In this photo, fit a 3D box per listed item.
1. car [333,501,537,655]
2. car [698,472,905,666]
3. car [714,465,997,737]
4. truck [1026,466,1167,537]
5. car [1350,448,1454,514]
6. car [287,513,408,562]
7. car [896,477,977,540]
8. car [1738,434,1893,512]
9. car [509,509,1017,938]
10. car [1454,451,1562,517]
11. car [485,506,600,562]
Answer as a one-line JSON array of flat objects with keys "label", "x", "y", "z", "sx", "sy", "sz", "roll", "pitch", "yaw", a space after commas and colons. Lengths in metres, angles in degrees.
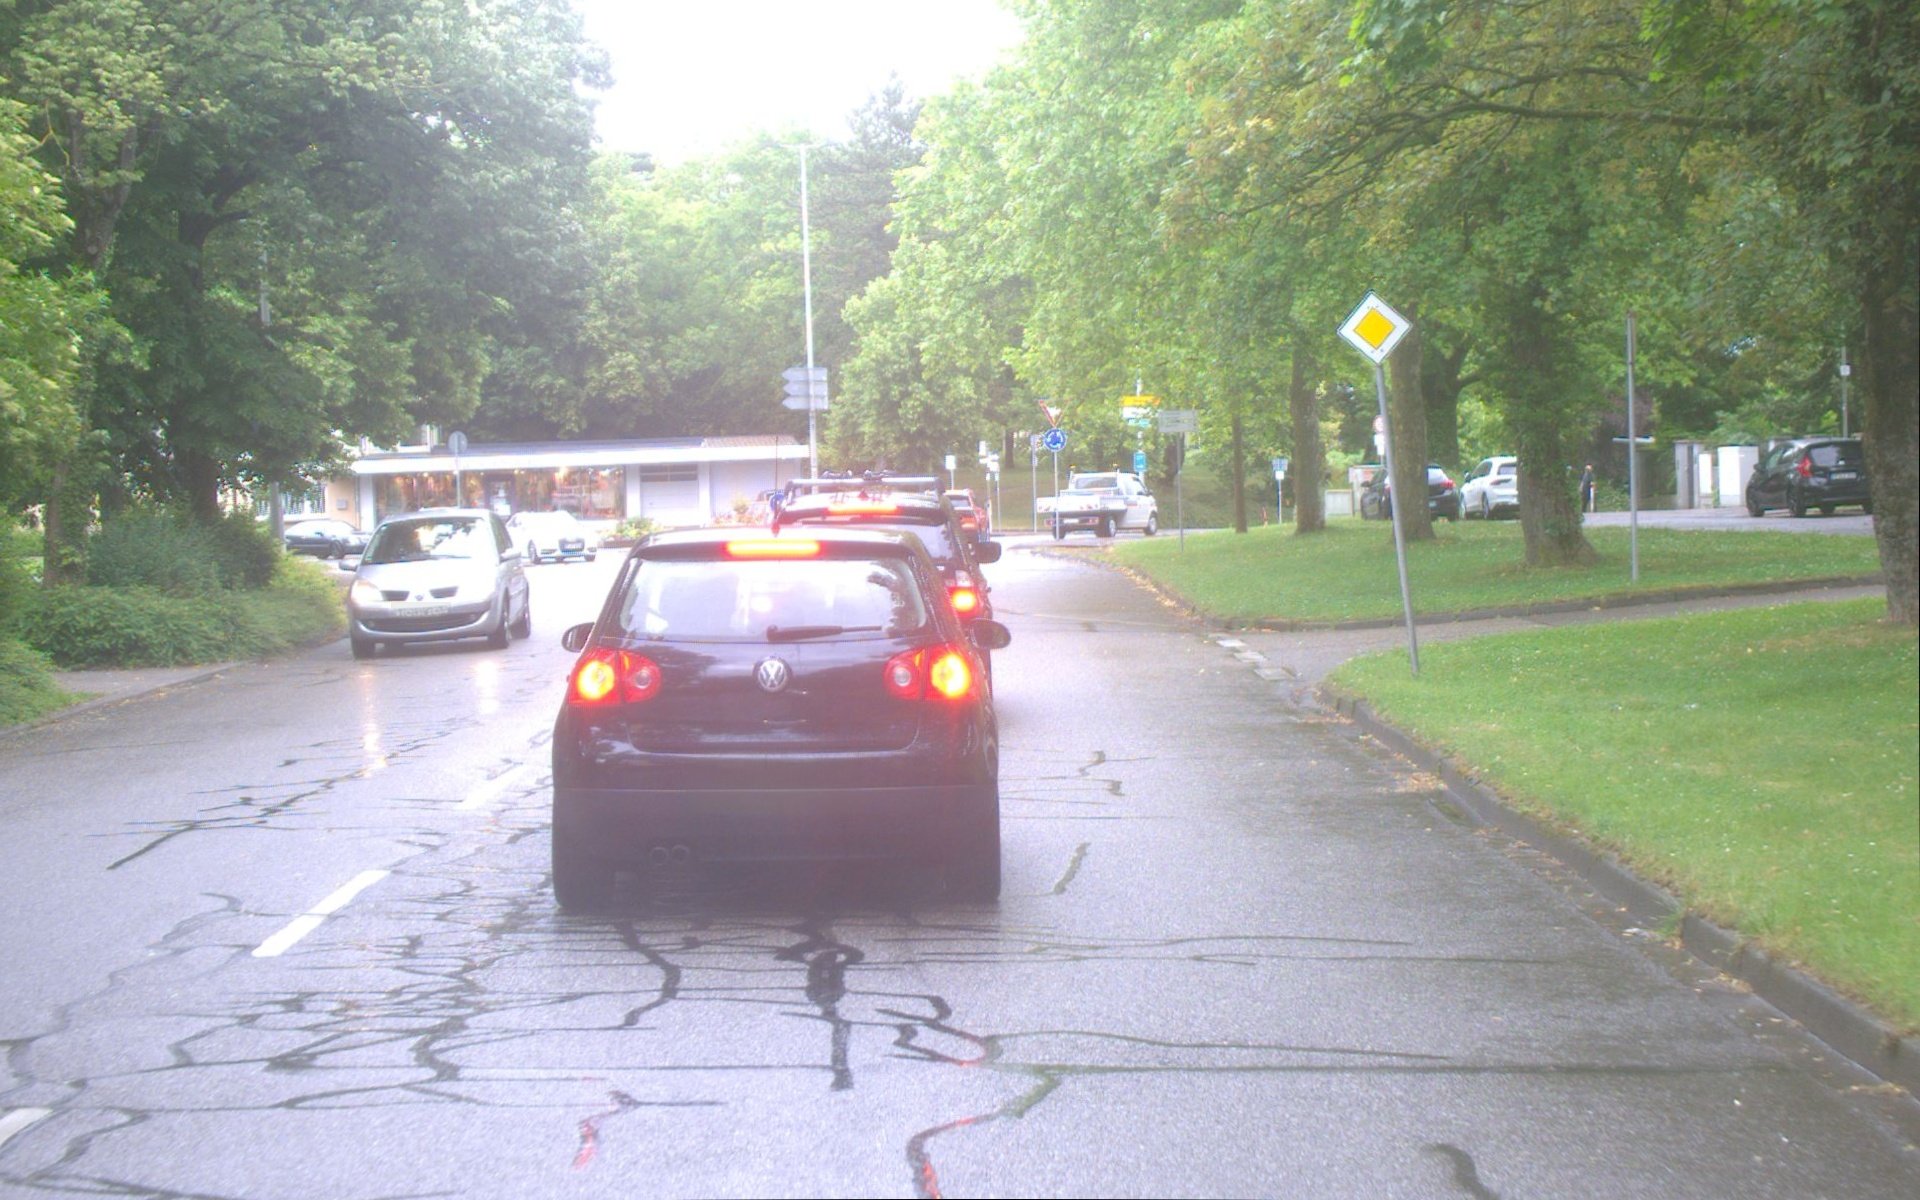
[{"label": "car", "x": -6.040, "y": -0.298, "z": 39.963, "sx": 1.763, "sy": 1.608, "sz": 4.142, "roll": -3, "pitch": 2, "yaw": -2}, {"label": "car", "x": -1.533, "y": -0.338, "z": 34.555, "sx": 1.855, "sy": 1.778, "sz": 4.000, "roll": -2, "pitch": 1, "yaw": 0}, {"label": "car", "x": -0.714, "y": -0.053, "z": 25.299, "sx": 1.855, "sy": 1.778, "sz": 4.000, "roll": -2, "pitch": 2, "yaw": 0}, {"label": "truck", "x": 4.154, "y": -2.980, "z": 103.482, "sx": 2.420, "sy": 1.998, "sz": 5.144, "roll": -2, "pitch": 1, "yaw": 25}, {"label": "car", "x": 10.337, "y": -2.798, "z": 80.612, "sx": 1.803, "sy": 1.380, "sz": 4.001, "roll": -4, "pitch": 2, "yaw": 0}, {"label": "car", "x": -21.110, "y": -2.153, "z": 118.437, "sx": 3.974, "sy": 1.388, "sz": 1.799, "roll": -3, "pitch": 2, "yaw": 38}, {"label": "car", "x": -0.586, "y": -2.356, "z": 88.417, "sx": 1.706, "sy": 1.508, "sz": 3.673, "roll": -2, "pitch": 1, "yaw": 4}, {"label": "car", "x": 16.882, "y": -2.526, "z": 68.031, "sx": 1.801, "sy": 1.406, "sz": 4.113, "roll": -3, "pitch": 3, "yaw": -3}, {"label": "car", "x": -0.716, "y": 0.405, "z": 14.264, "sx": 1.798, "sy": 1.510, "sz": 3.754, "roll": -1, "pitch": 1, "yaw": 0}, {"label": "car", "x": 12.868, "y": -2.740, "z": 80.923, "sx": 1.803, "sy": 1.401, "sz": 4.001, "roll": -4, "pitch": 2, "yaw": 0}, {"label": "car", "x": -11.481, "y": -1.811, "z": 94.413, "sx": 1.608, "sy": 1.422, "sz": 4.008, "roll": -4, "pitch": 3, "yaw": -30}]
